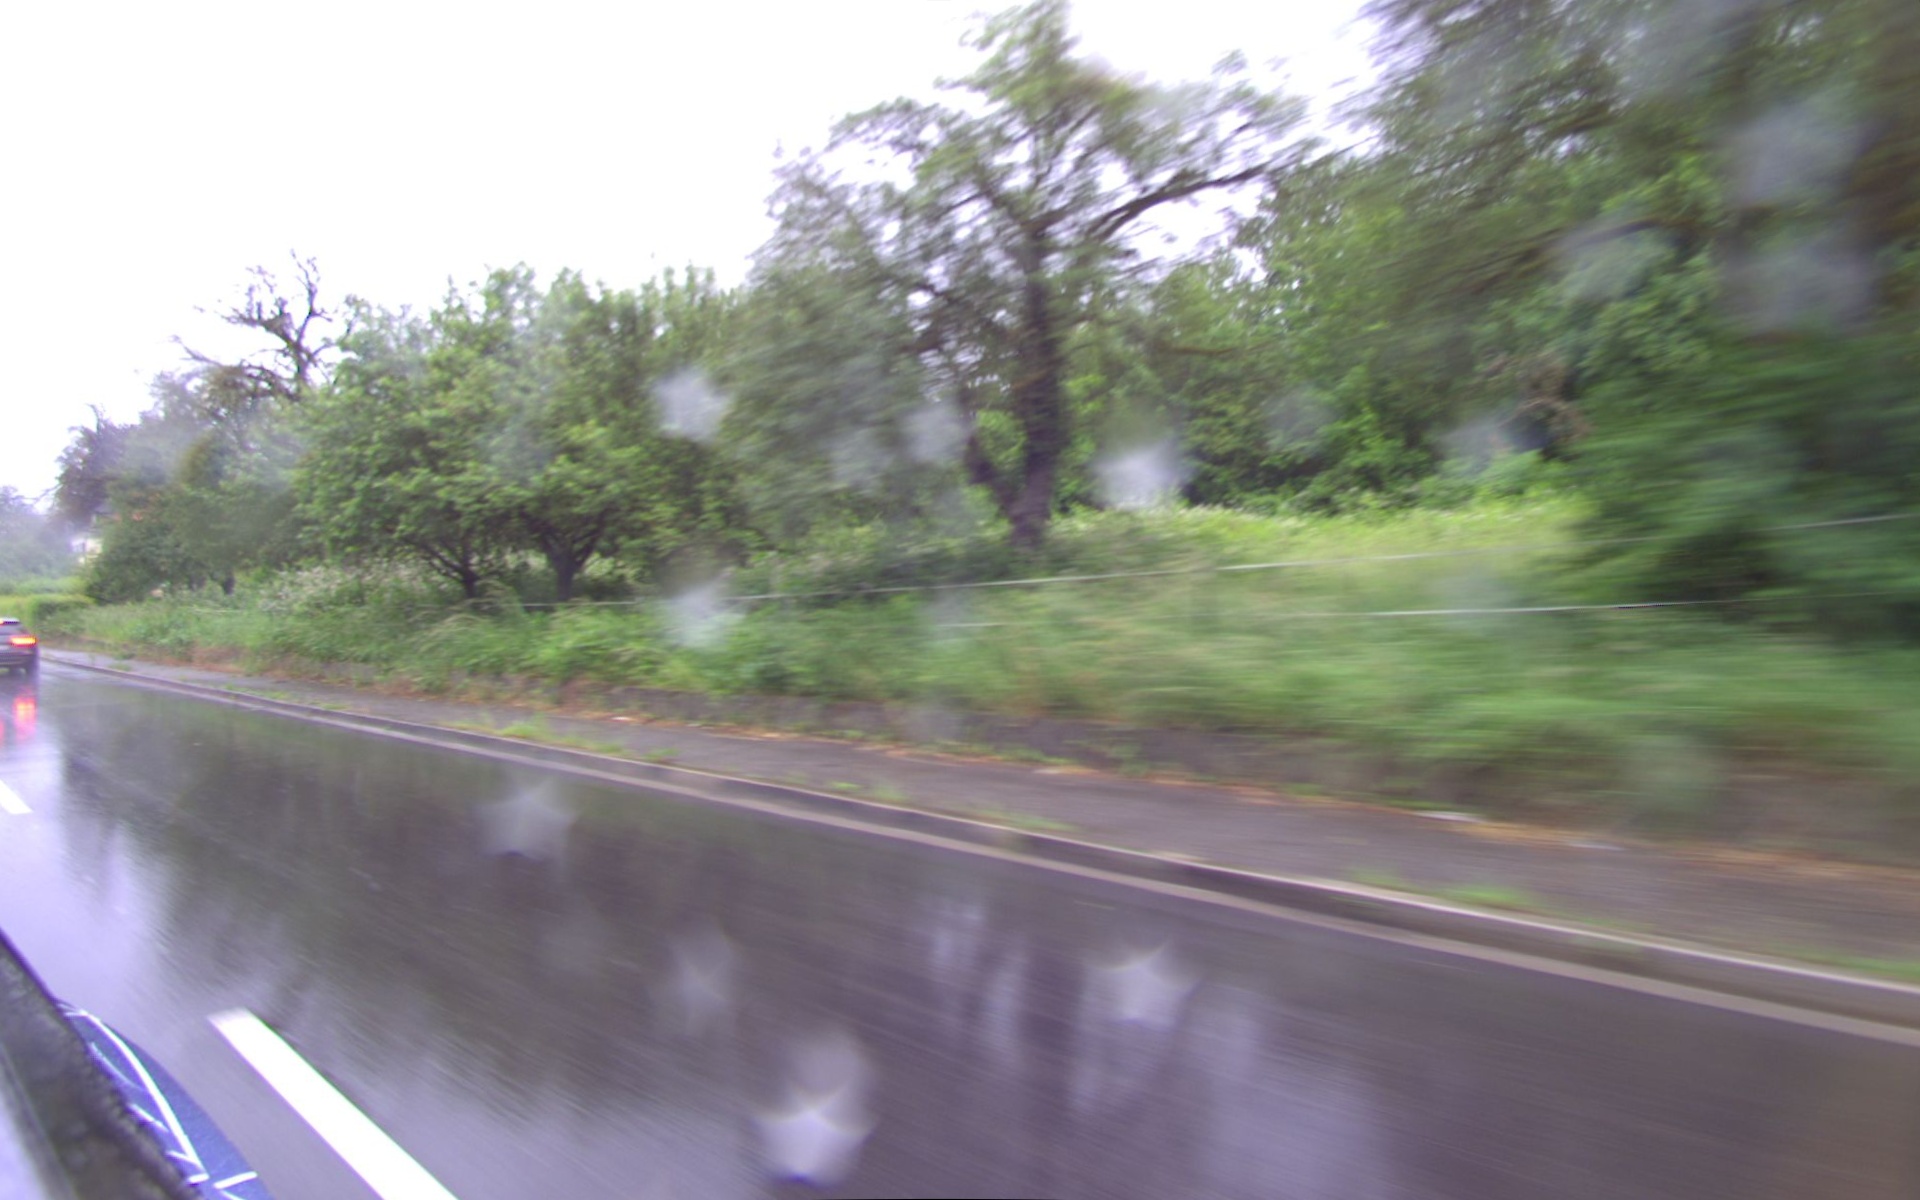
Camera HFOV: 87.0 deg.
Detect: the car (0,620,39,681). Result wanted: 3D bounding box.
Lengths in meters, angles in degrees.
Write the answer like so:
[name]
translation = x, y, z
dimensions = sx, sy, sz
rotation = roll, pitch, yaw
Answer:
[car]
translation = -25.208, 1.293, 25.899
dimensions = 4.426, 1.465, 1.972
rotation = -2, -1, 42
